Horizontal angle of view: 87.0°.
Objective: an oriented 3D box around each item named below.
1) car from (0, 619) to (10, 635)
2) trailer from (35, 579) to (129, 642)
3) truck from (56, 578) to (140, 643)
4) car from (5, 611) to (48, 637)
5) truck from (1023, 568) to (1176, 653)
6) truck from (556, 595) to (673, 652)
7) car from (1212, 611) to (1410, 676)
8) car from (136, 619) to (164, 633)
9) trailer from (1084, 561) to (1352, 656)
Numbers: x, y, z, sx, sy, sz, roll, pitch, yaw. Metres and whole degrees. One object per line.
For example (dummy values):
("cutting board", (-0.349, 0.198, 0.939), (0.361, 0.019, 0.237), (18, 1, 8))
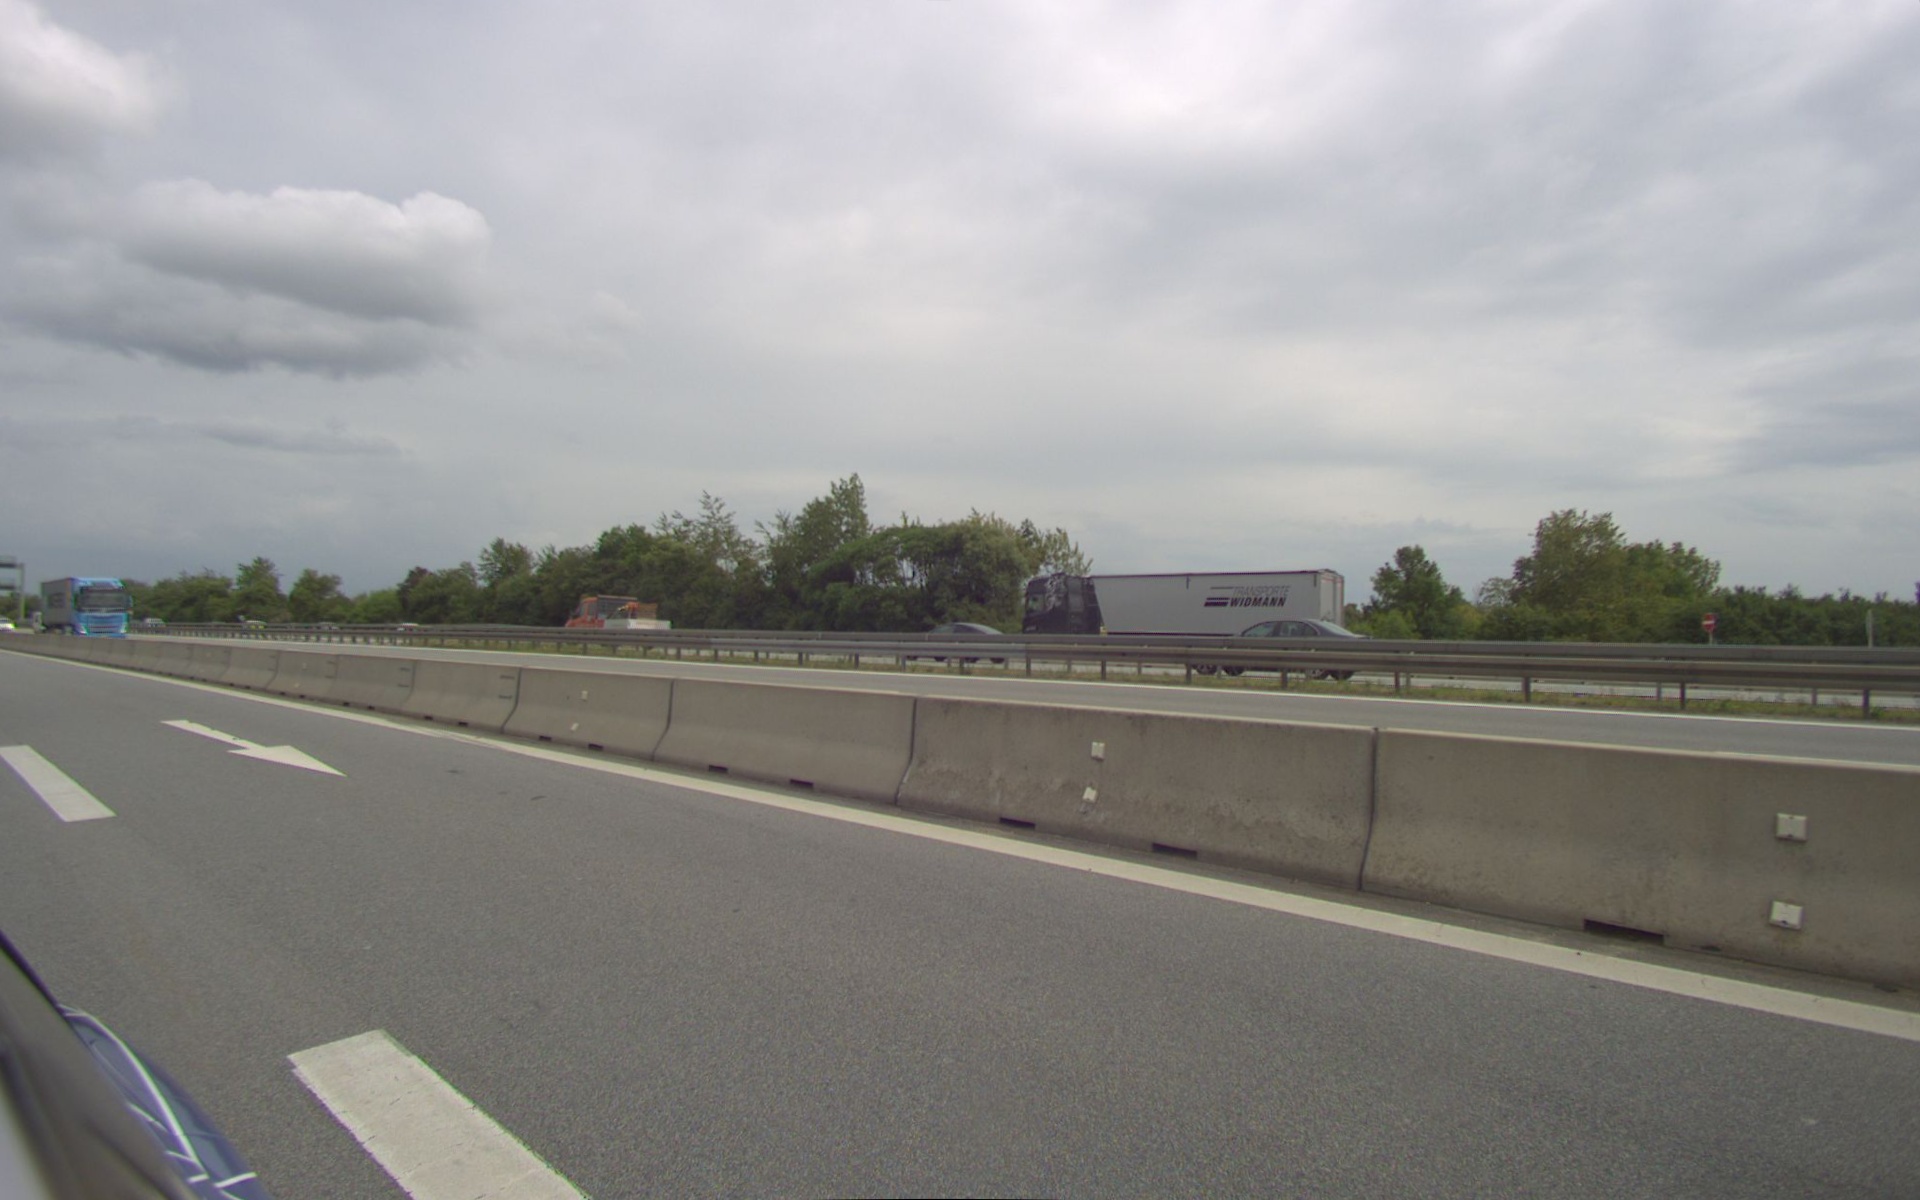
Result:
("car", (-92.895, 2.603, 97.674), (1.661, 1.496, 3.777), (0, -1, -45))
("trailer", (-59.665, 0.725, 68.589), (12.375, 3.954, 3.202), (-1, 0, 41))
("truck", (-54.649, 0.679, 64.112), (6.607, 3.941, 3.212), (-1, -1, 42))
("car", (-74.239, 1.909, 80.459), (5.129, 1.952, 1.979), (-1, 0, 41))
("truck", (5.882, 0.463, 42.976), (5.618, 3.355, 3.118), (-1, -1, 40))
("truck", (-15.548, 1.036, 45.330), (6.198, 2.388, 2.252), (-1, -1, 42))
("car", (8.121, 0.973, 23.601), (3.999, 1.380, 1.734), (-1, -1, 42))
("car", (-88.562, 2.835, 110.572), (4.001, 1.480, 1.670), (-1, -1, 40))
("trailer", (9.889, 0.371, 39.751), (9.813, 3.294, 3.166), (-1, -1, 39))
